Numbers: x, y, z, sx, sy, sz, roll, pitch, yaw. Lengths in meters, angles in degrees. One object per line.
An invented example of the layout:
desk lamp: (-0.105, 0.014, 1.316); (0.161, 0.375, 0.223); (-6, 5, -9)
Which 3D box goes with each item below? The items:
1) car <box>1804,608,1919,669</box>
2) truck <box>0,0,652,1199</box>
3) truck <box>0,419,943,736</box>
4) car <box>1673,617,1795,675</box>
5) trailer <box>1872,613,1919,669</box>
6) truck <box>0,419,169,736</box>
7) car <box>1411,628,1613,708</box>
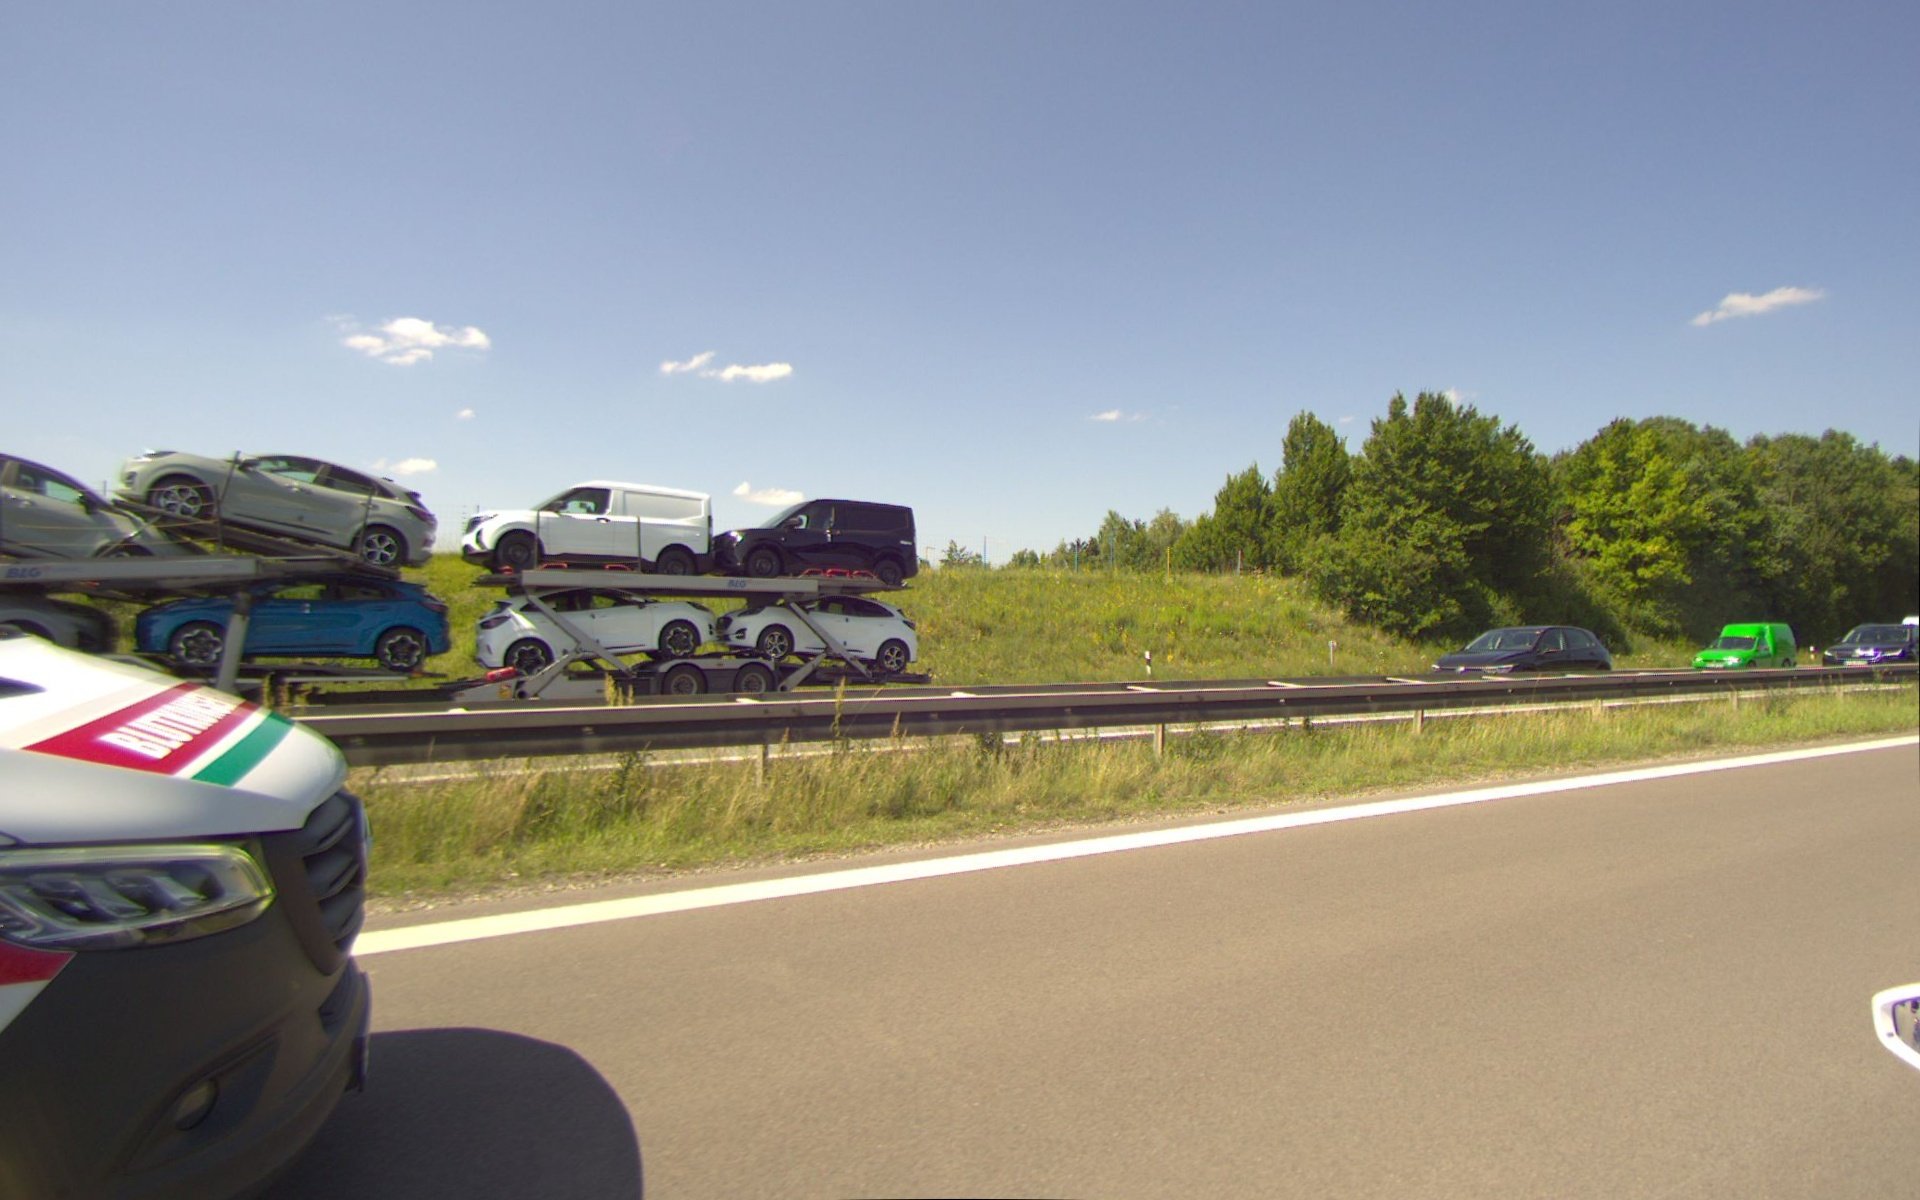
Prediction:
car: (26.163, 1.114, 28.662); (4.371, 1.594, 1.841); (3, -2, -30)
truck: (-3.962, 0.084, 1.138); (6.616, 2.576, 1.983); (1, 0, -31)
truck: (-8.155, -0.133, 17.615); (16.490, 4.103, 3.194); (1, -2, -32)
car: (26.071, 1.526, 33.799); (4.331, 1.833, 1.805); (1, -1, -31)
trailer: (50.569, 2.100, 51.873); (8.528, 2.723, 2.719); (1, -1, -30)
truck: (-15.265, -0.304, 13.137); (7.313, 4.103, 3.223); (1, -2, -32)
car: (10.848, 1.269, 19.681); (3.953, 1.408, 1.708); (1, -1, -30)
